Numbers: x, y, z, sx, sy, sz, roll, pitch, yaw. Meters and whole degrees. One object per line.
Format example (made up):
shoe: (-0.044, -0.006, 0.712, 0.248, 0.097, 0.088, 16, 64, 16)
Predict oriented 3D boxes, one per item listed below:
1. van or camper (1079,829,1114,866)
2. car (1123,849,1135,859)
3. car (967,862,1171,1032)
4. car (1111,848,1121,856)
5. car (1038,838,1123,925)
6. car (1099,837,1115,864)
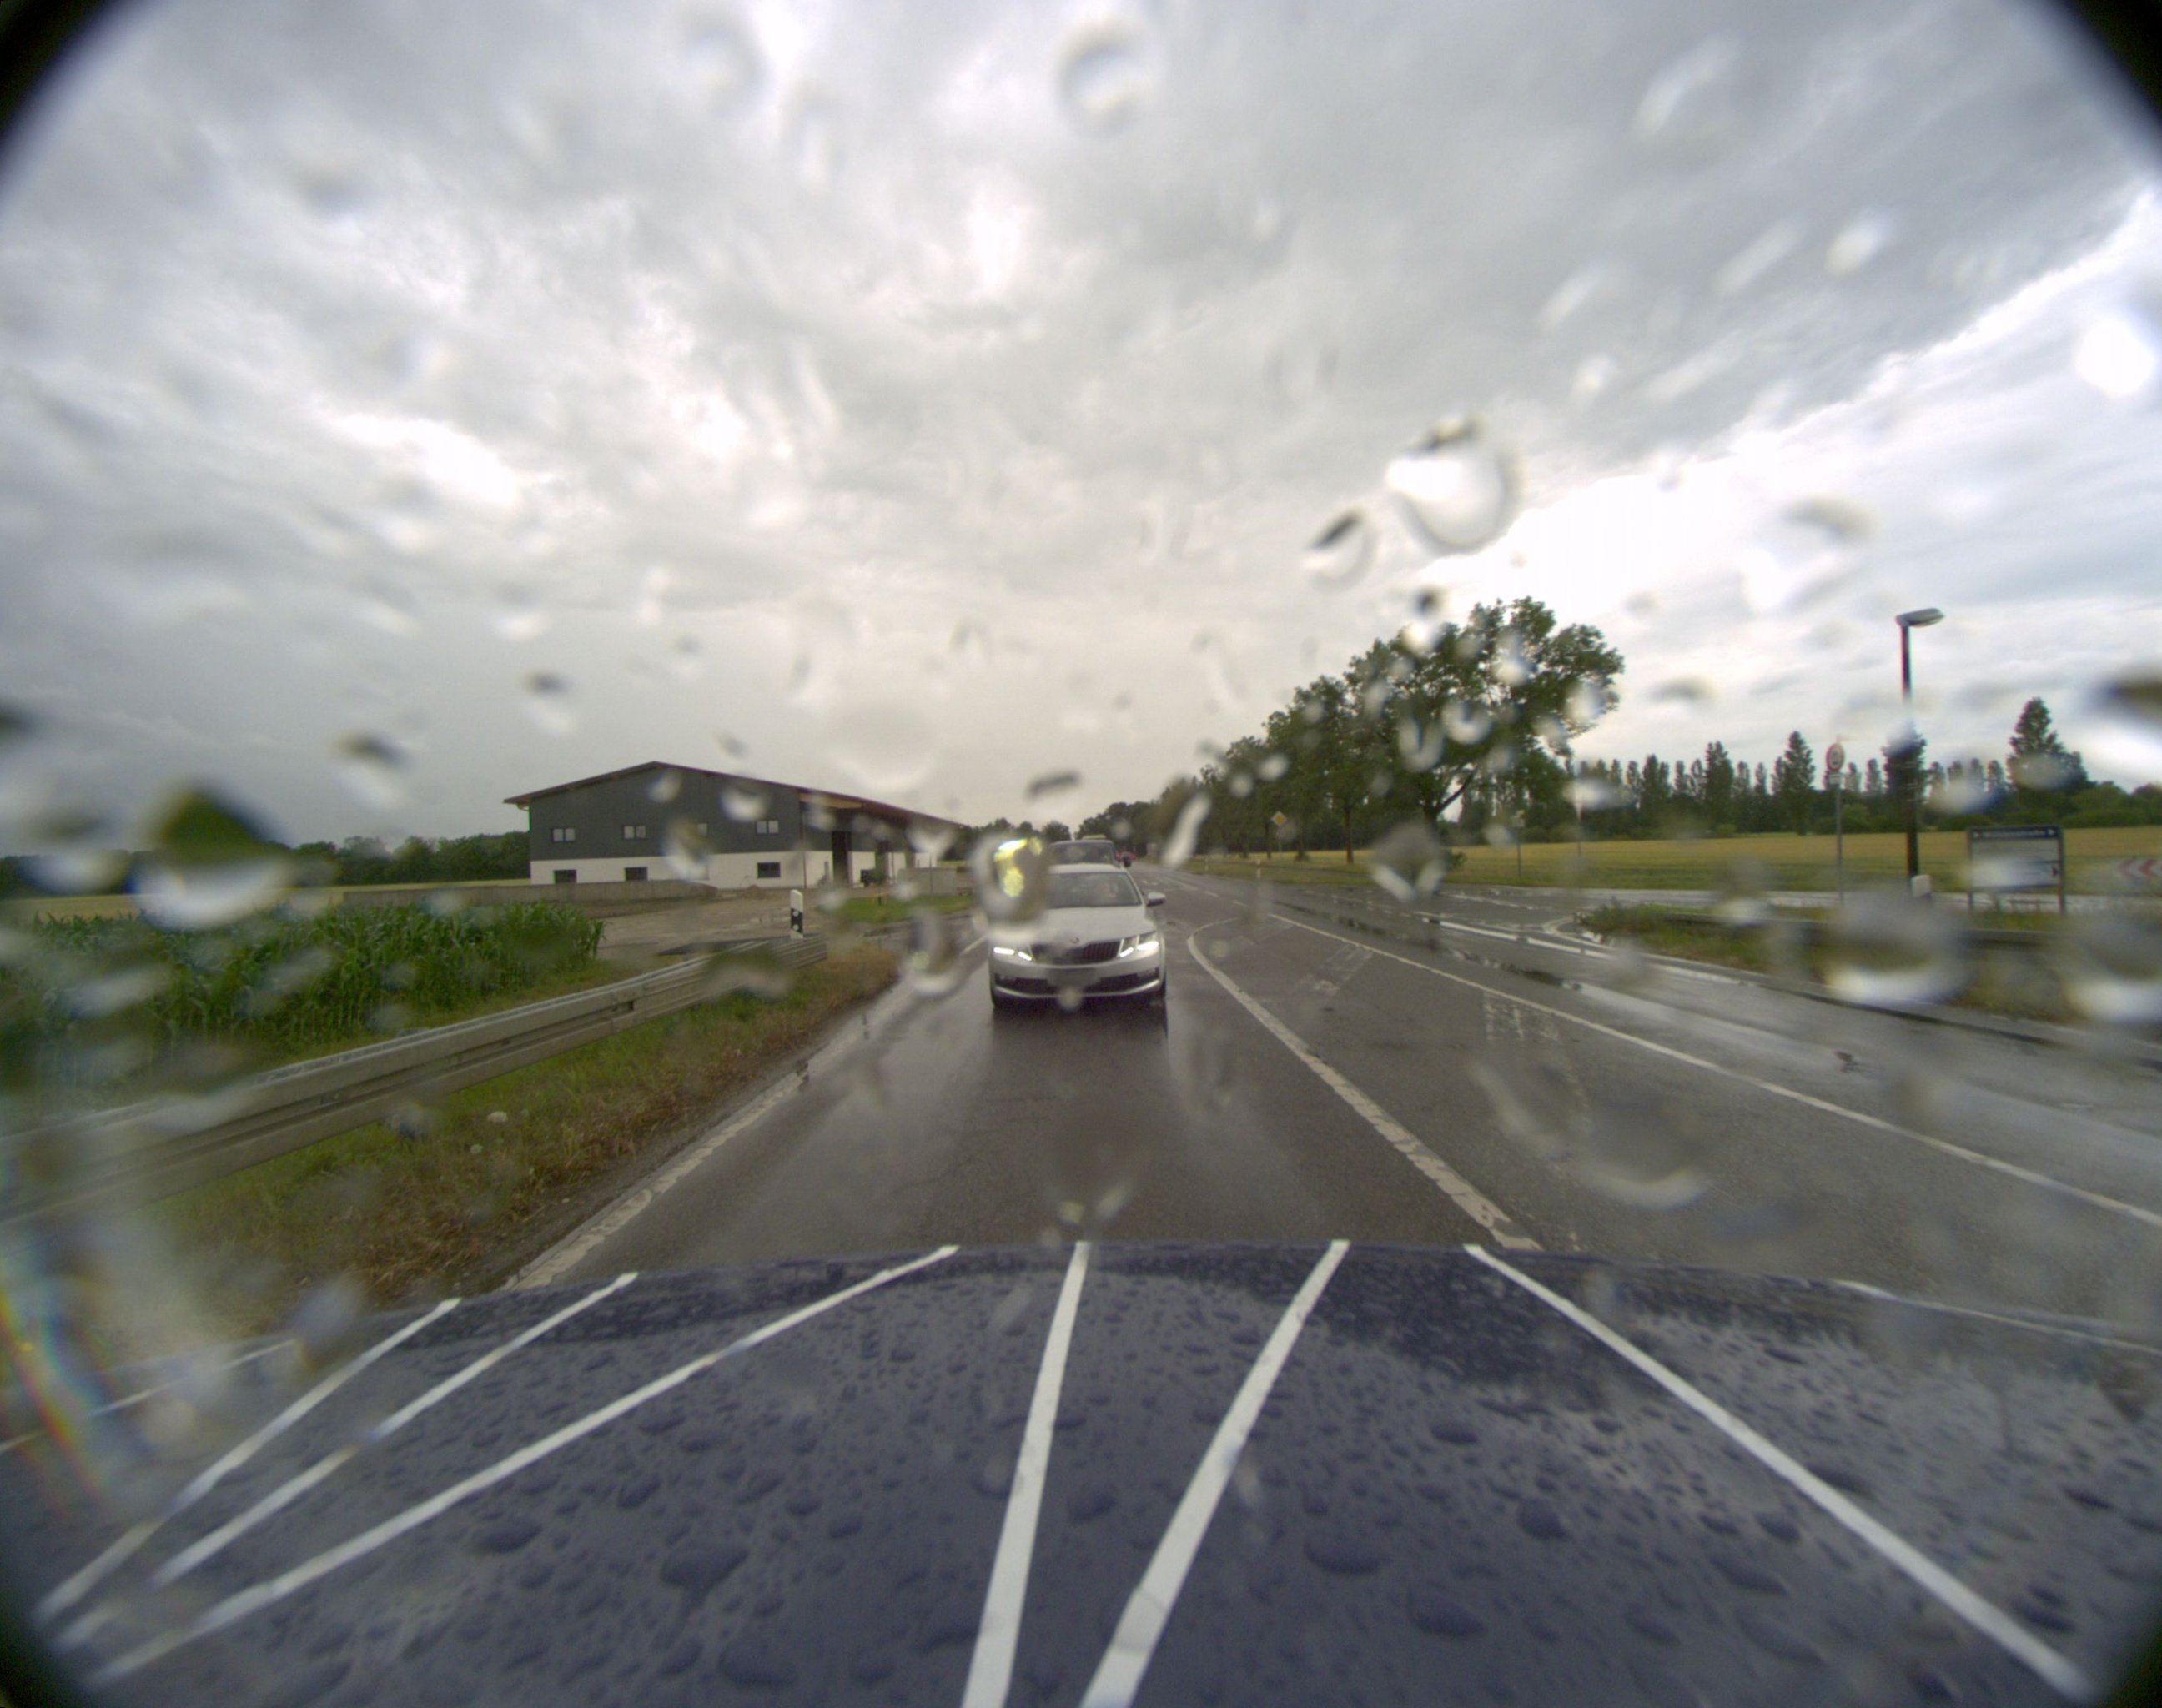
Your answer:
van or camper: (1.688, -0.681, 80.609, 3.342, 3.624, 8.373, -2, 1, 2)
car: (7.678, 0.037, 122.306, 1.773, 1.514, 4.141, 0, 0, 1)
car: (-0.044, 0.856, 9.062, 1.770, 1.365, 4.575, -2, 0, 2)
car: (7.198, -0.348, 155.847, 1.949, 1.571, 4.443, -2, 0, 1)
car: (0.054, 0.600, 19.308, 1.841, 1.888, 4.575, -2, 1, 2)
car: (3.173, -0.460, 92.353, 1.771, 3.134, 4.028, -2, 0, 1)
